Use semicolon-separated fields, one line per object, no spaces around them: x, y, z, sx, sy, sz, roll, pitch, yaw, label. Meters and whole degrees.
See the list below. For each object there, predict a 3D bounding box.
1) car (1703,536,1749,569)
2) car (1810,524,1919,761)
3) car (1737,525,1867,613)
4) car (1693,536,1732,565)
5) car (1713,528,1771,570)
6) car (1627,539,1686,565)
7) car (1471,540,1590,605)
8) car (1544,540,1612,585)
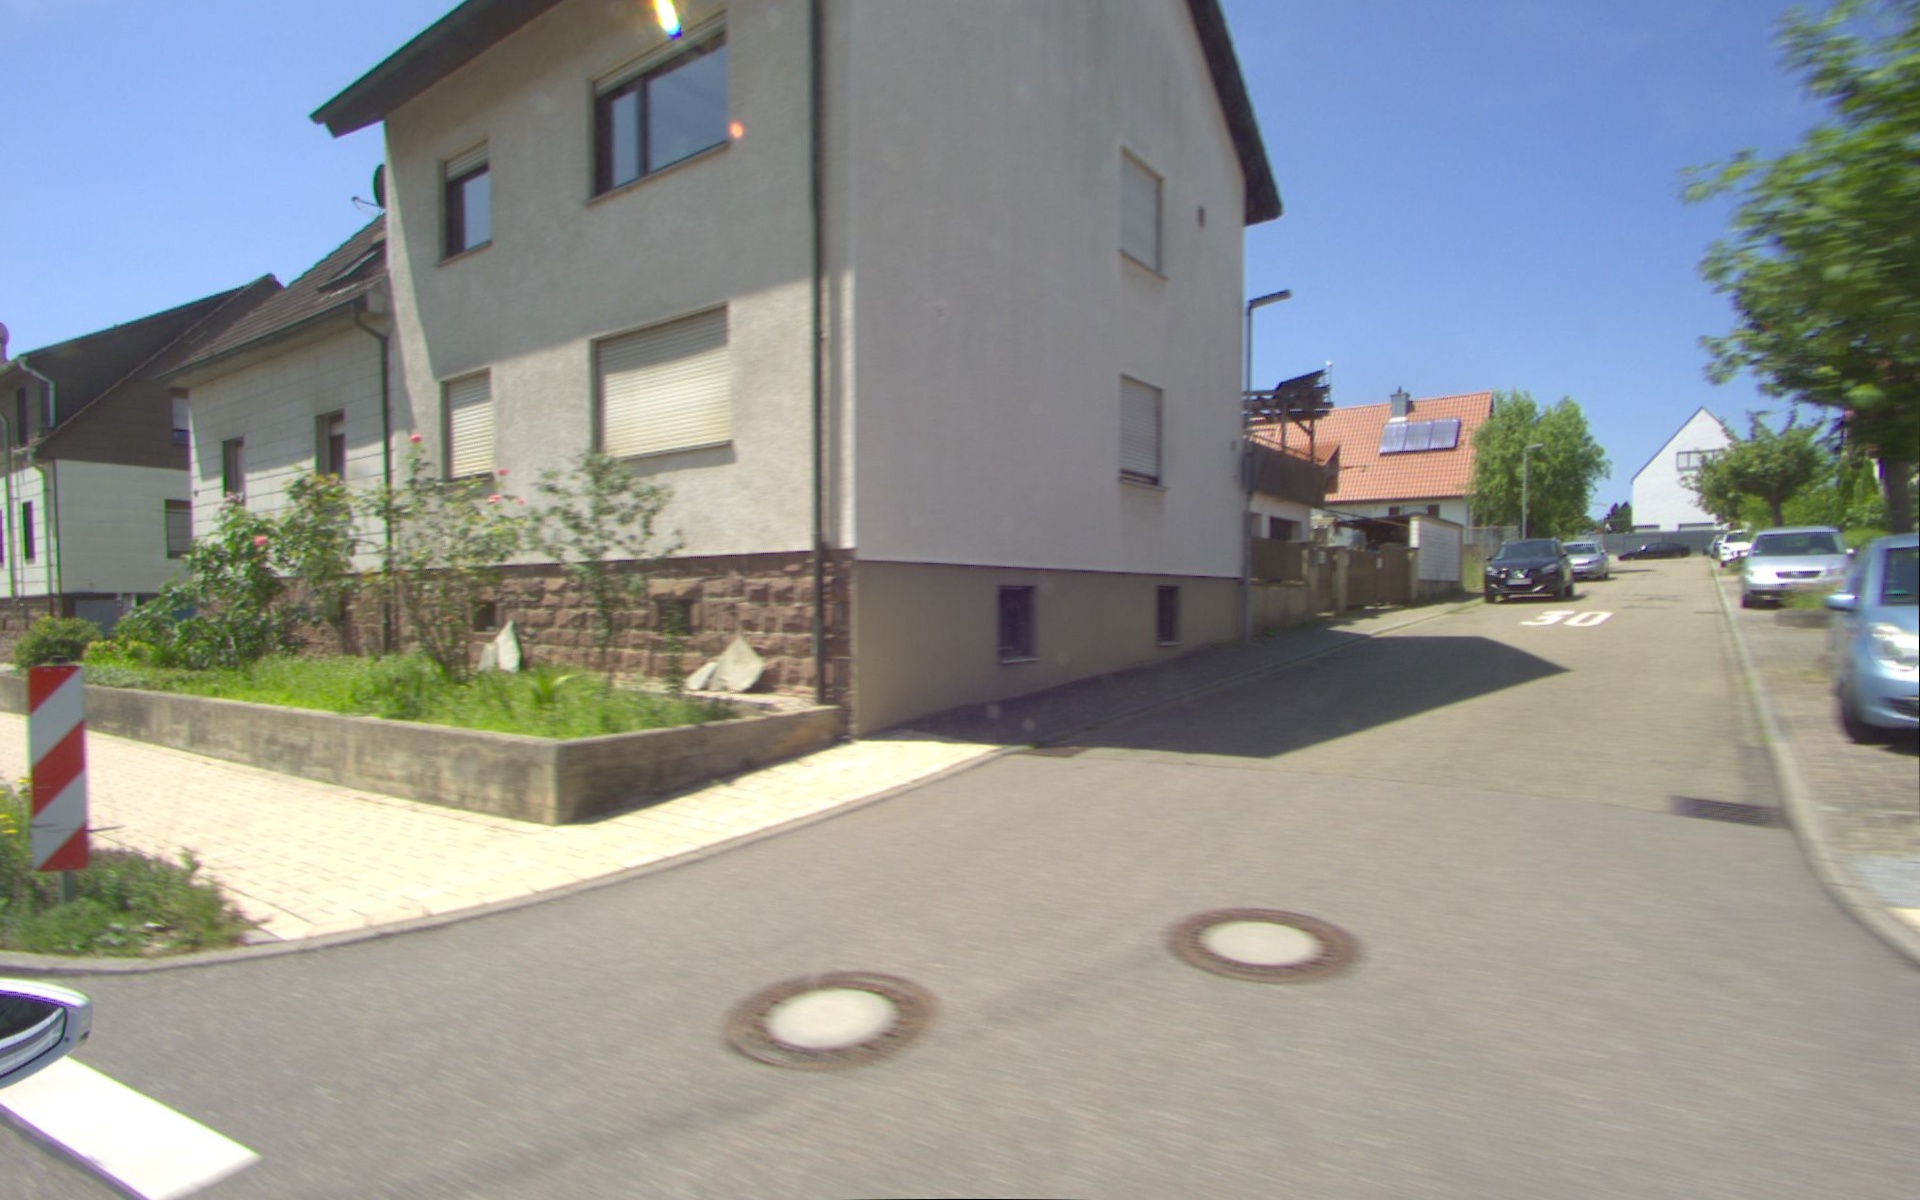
43.670;-2.706;57.156;1.880;1.740;4.260;-2;1;36;car
7.636;0.174;7.492;1.778;1.513;3.498;-2;2;38;car
17.483;-0.657;20.900;1.882;1.602;4.365;-2;1;39;car
48.724;-3.182;64.909;1.880;1.740;4.260;-2;1;36;car
35.946;-2.334;46.090;1.880;1.740;4.260;-2;1;36;car
52.808;-3.650;76.034;3.577;1.695;1.501;-2;-2;32;car
14.897;-0.737;26.032;1.883;1.504;4.253;-2;1;41;car
23.031;-1.389;37.252;1.880;1.504;4.260;-2;1;36;car
